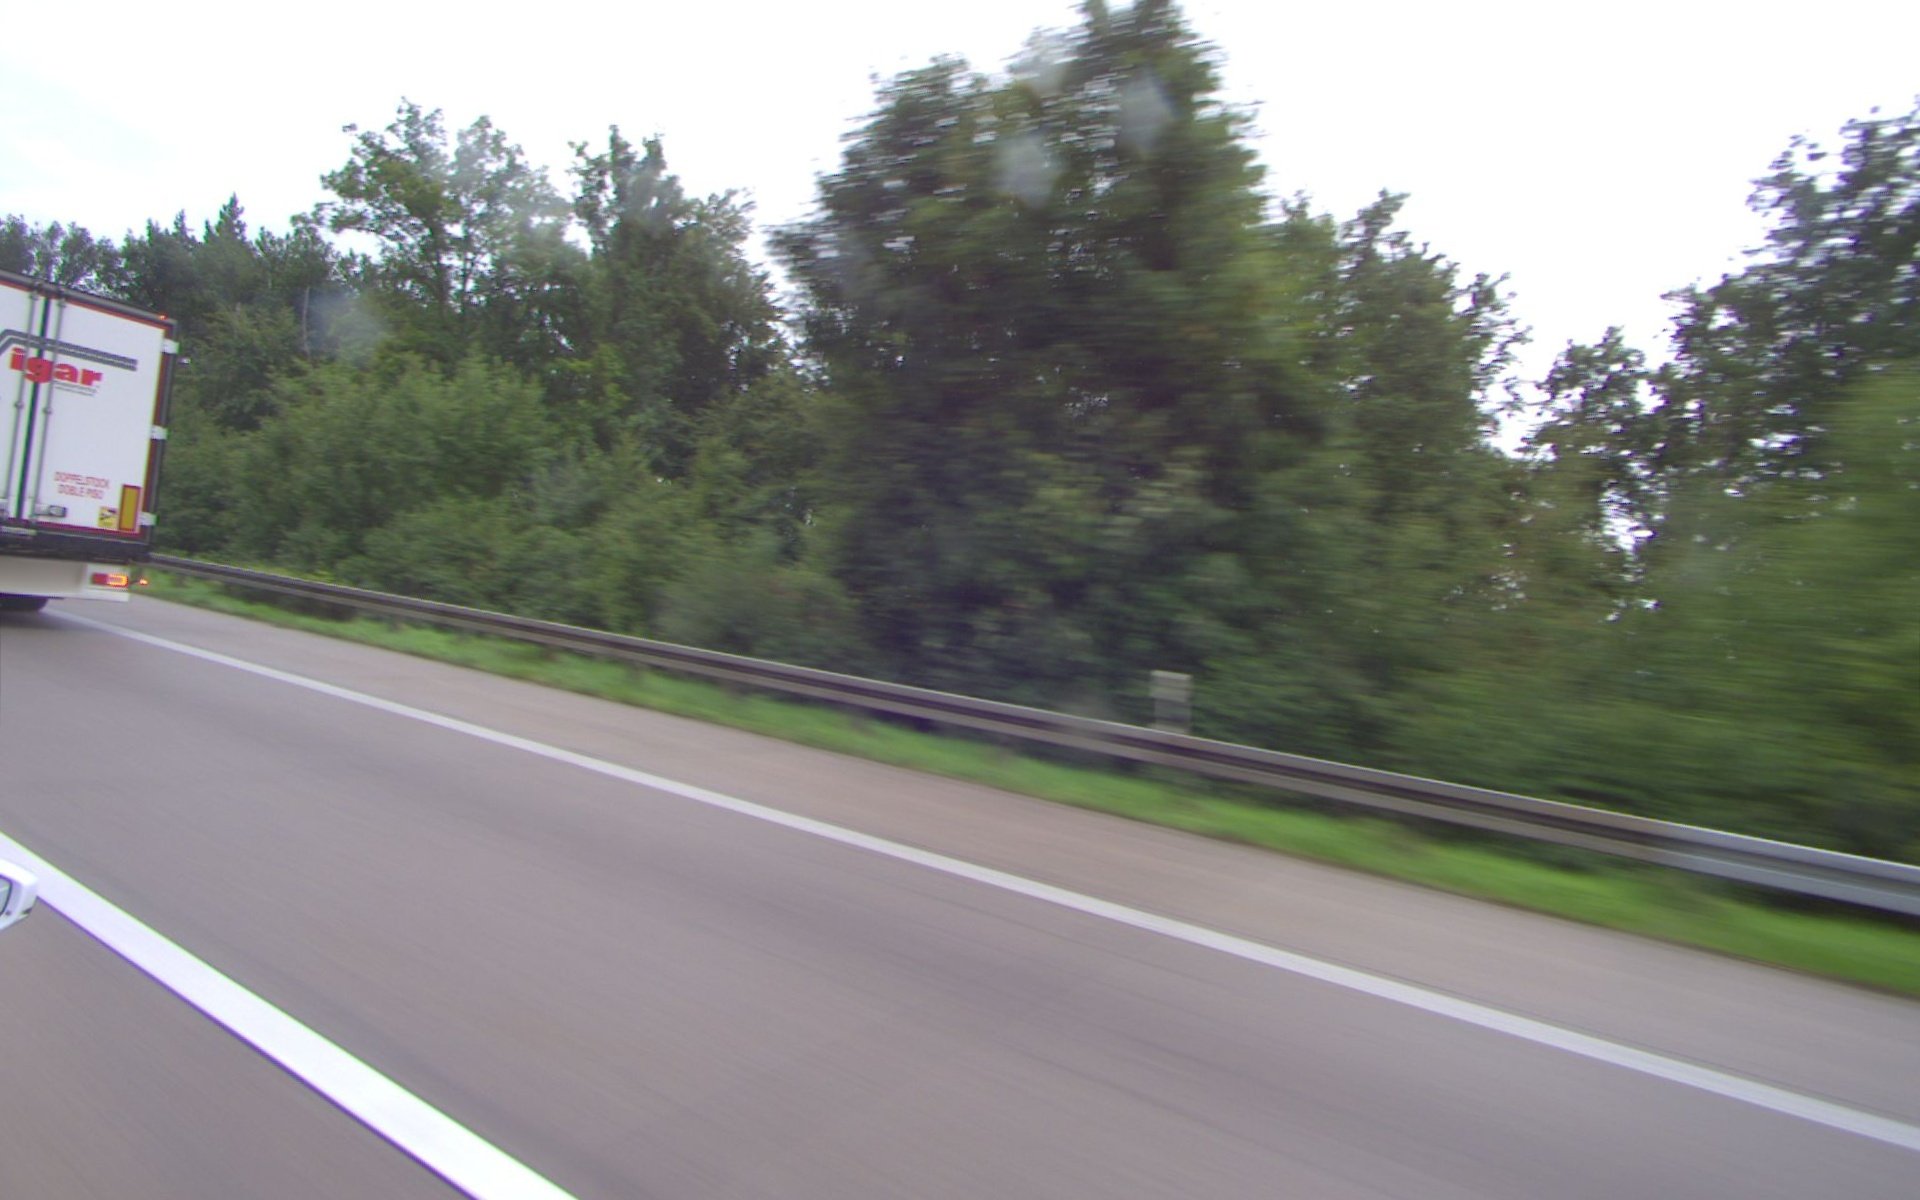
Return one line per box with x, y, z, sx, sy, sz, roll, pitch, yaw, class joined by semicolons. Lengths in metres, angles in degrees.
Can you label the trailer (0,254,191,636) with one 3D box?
-16.406;-2.399;14.955;13.451;4.153;2.739;7;0;30;trailer
